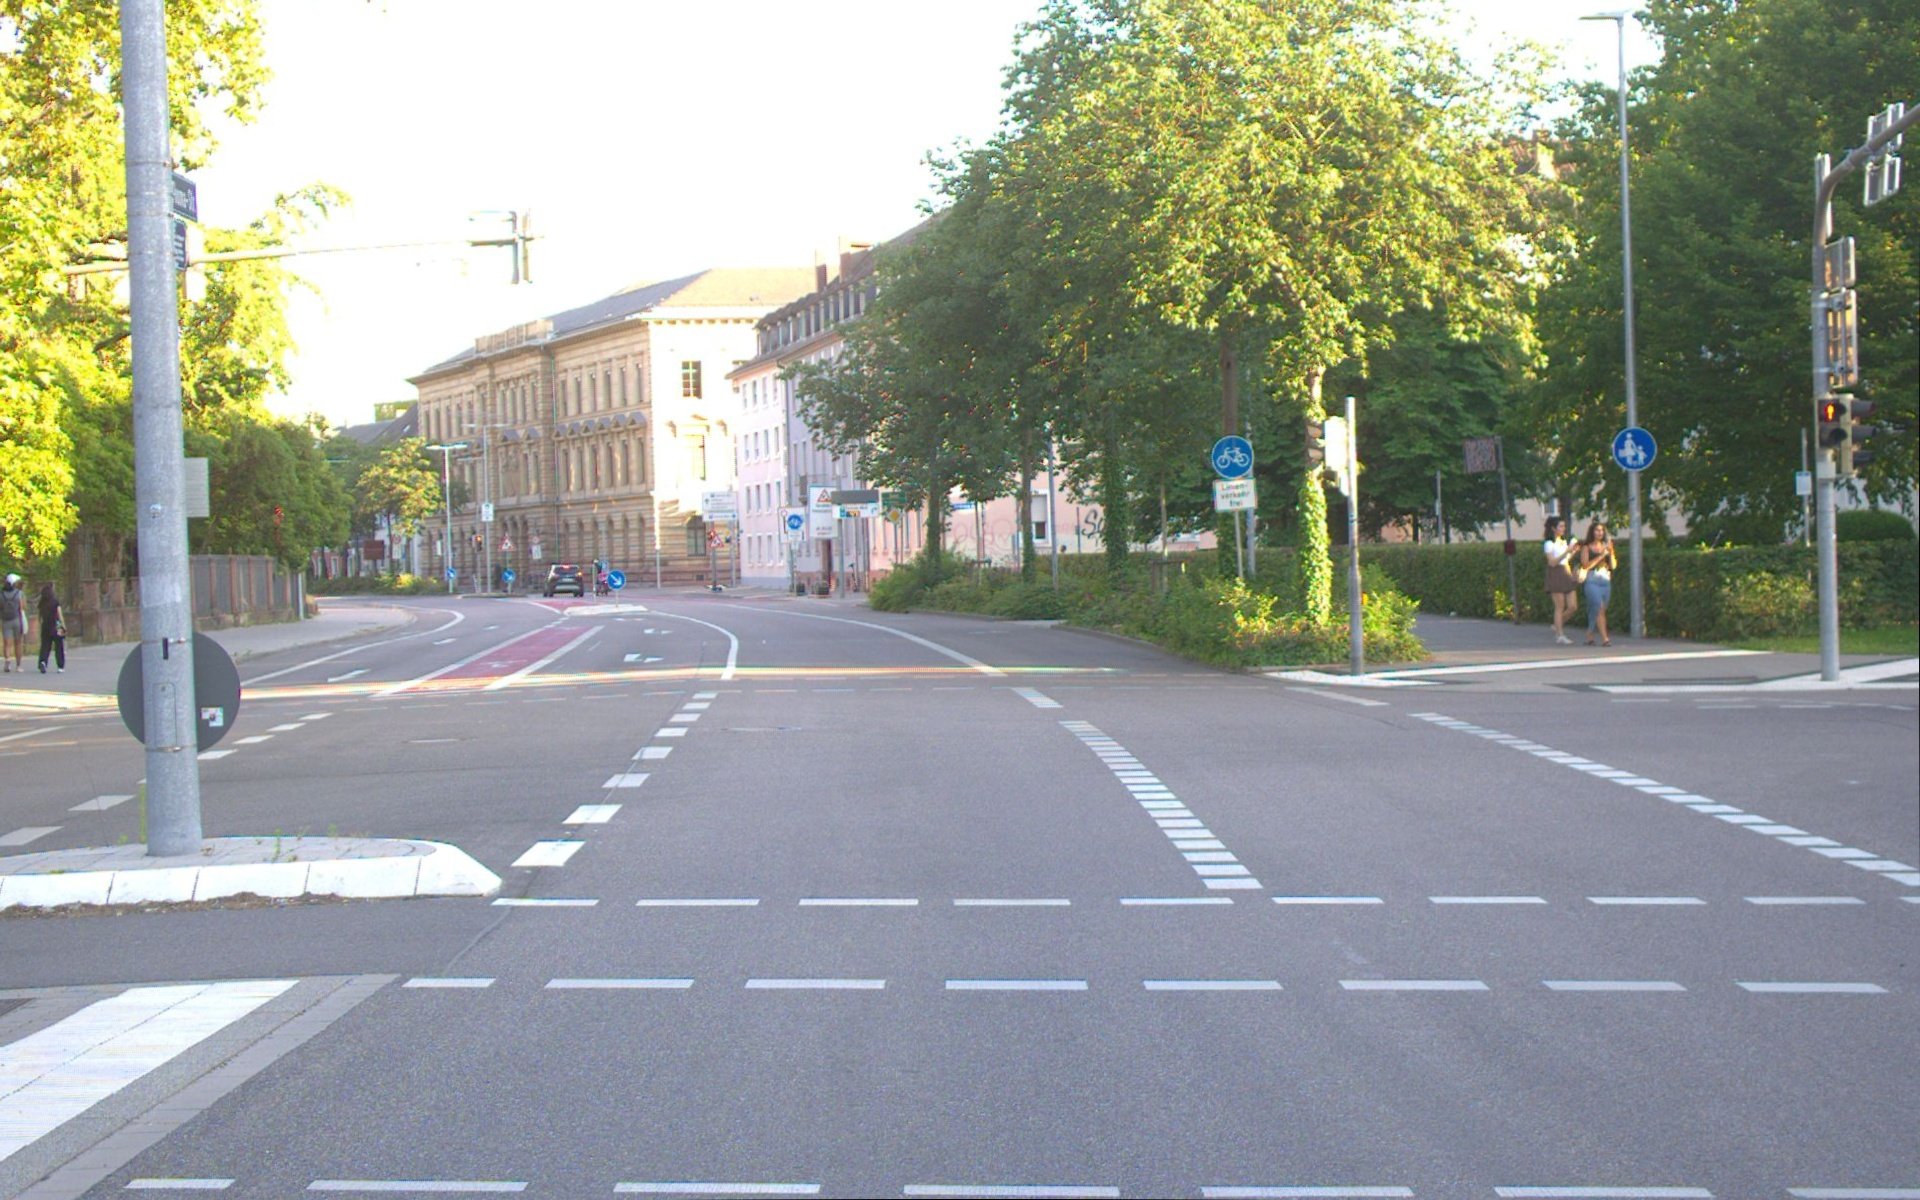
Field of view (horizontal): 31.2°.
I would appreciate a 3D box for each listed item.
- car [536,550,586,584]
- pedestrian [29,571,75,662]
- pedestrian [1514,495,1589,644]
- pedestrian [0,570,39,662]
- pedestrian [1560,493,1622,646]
[{"bbox_3d":[-19.706,-1.648,169.712,1.819,1.583,4.001,-3,1,-14],"label":"car"},{"bbox_3d":[-15.927,0.285,60.321,0.599,1.568,0.646,-2,1,-1],"label":"pedestrian"},{"bbox_3d":[8.077,-0.416,46.966,0.870,2.007,0.722,0,1,-1],"label":"pedestrian"},{"bbox_3d":[-16.560,0.279,60.420,0.535,1.591,0.590,-2,1,-1],"label":"pedestrian"},{"bbox_3d":[8.395,-0.407,45.737,0.635,2.007,0.720,-1,1,-4],"label":"pedestrian"}]
